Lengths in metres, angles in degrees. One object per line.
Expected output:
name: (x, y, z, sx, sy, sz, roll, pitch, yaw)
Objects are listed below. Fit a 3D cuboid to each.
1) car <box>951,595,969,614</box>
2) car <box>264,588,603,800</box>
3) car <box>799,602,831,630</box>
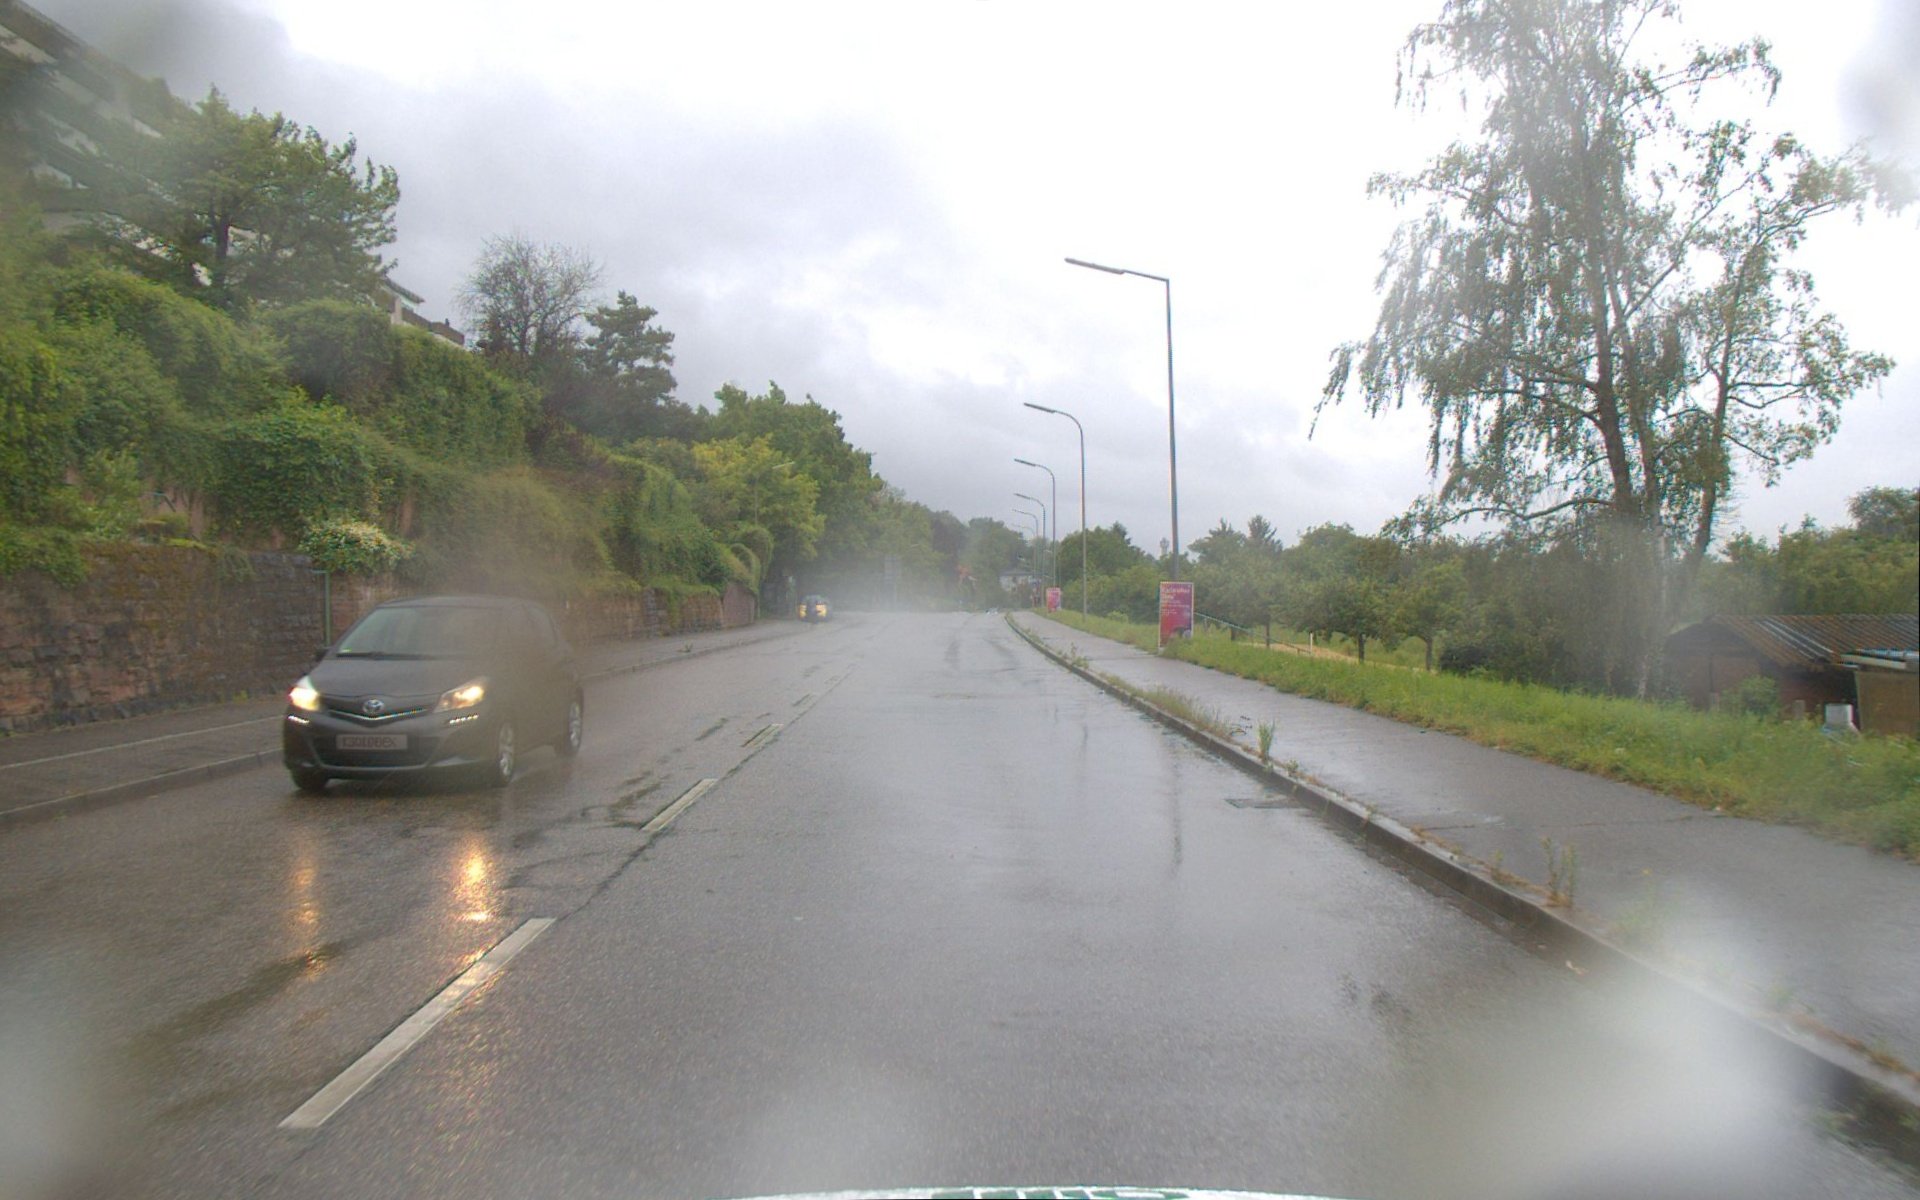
car: (-0.038, 0.516, 184.394, 1.953, 2.049, 3.999, 0, 0, -1)
car: (-4.302, 0.693, 14.180, 1.724, 1.522, 4.125, -1, 0, -3)
car: (-8.178, 0.878, 93.650, 1.693, 1.522, 3.984, -1, 0, -3)
